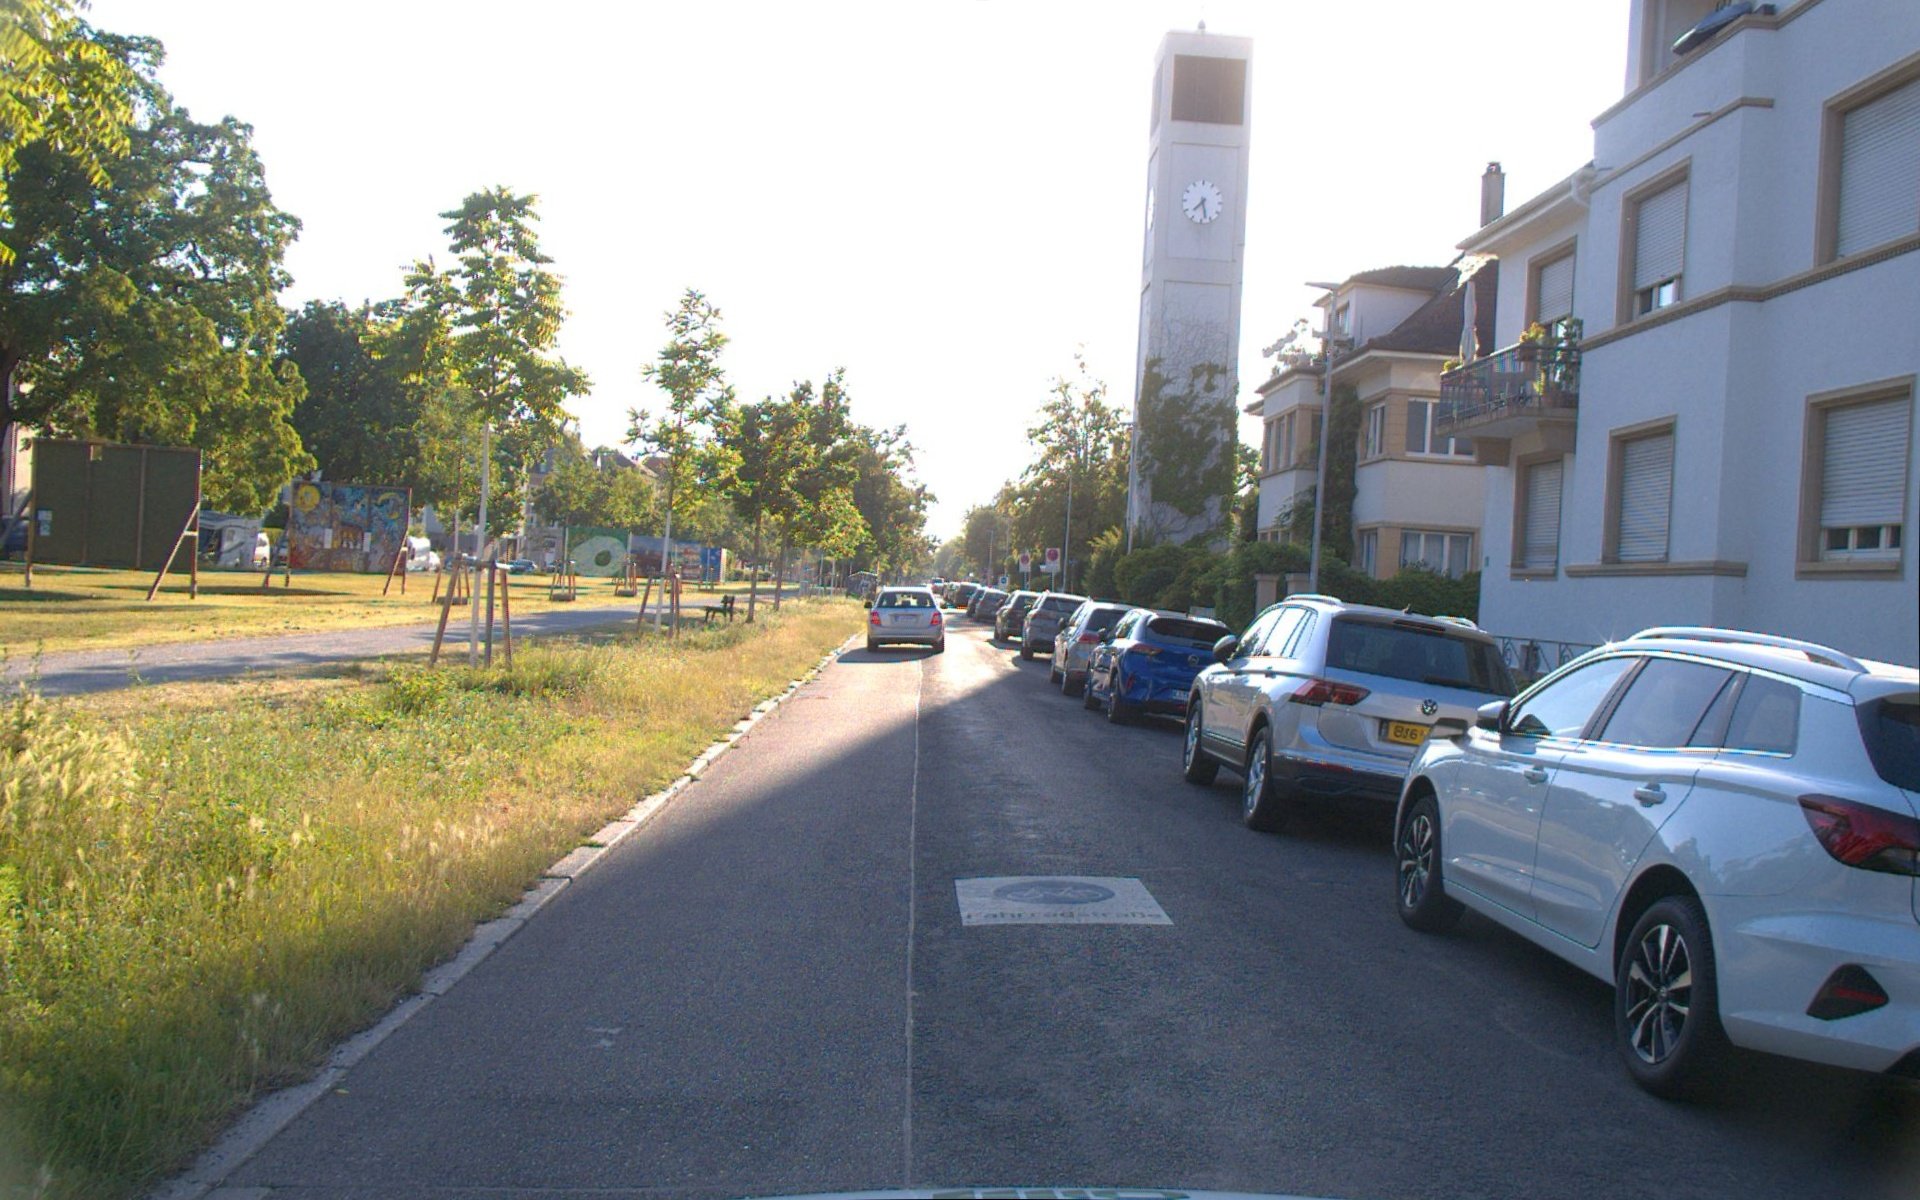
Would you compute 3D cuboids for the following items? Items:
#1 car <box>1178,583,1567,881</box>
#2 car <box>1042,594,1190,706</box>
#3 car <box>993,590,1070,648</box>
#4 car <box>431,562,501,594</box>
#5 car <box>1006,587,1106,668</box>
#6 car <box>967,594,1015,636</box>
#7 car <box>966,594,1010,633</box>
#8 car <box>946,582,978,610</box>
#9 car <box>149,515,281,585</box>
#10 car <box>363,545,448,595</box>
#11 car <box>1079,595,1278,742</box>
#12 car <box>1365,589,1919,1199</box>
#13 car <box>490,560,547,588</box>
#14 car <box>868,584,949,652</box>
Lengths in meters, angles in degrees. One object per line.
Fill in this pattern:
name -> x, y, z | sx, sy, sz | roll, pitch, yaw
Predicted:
car -> 2.907, 0.823, 12.600 | 1.652, 1.678, 4.099 | 8, 0, -2
car -> 2.455, 0.746, 26.937 | 1.727, 1.444, 3.998 | 7, 0, -3
car -> 2.017, 0.507, 47.803 | 1.953, 1.489, 4.000 | 3, 0, 0
car -> -36.472, -1.580, 122.318 | 3.095, 2.185, 6.892 | 1, 0, 0
car -> 2.089, 0.562, 36.977 | 1.726, 1.547, 3.998 | 5, 0, -3
car -> 1.336, 0.645, 73.527 | 1.953, 1.657, 4.000 | 3, 0, 0
car -> 1.335, 0.628, 79.974 | 1.953, 1.657, 4.000 | 3, 0, 0
car -> 0.121, -0.273, 108.255 | 1.940, 1.712, 4.000 | 3, 0, 0
car -> -34.987, -2.295, 77.992 | 3.095, 3.045, 6.892 | 1, 0, 0
car -> -35.590, -1.861, 106.463 | 3.095, 3.045, 6.892 | 1, 0, 0
car -> 2.727, 0.808, 21.559 | 1.727, 1.443, 3.998 | 9, 0, -3
car -> 3.147, 0.837, 6.648 | 1.723, 1.632, 4.357 | 3, 1, -3
car -> -37.343, -2.182, 140.085 | 3.095, 2.185, 6.109 | 1, 0, 0
car -> -1.194, 0.378, 37.795 | 1.725, 1.445, 3.998 | 1, 1, -3
